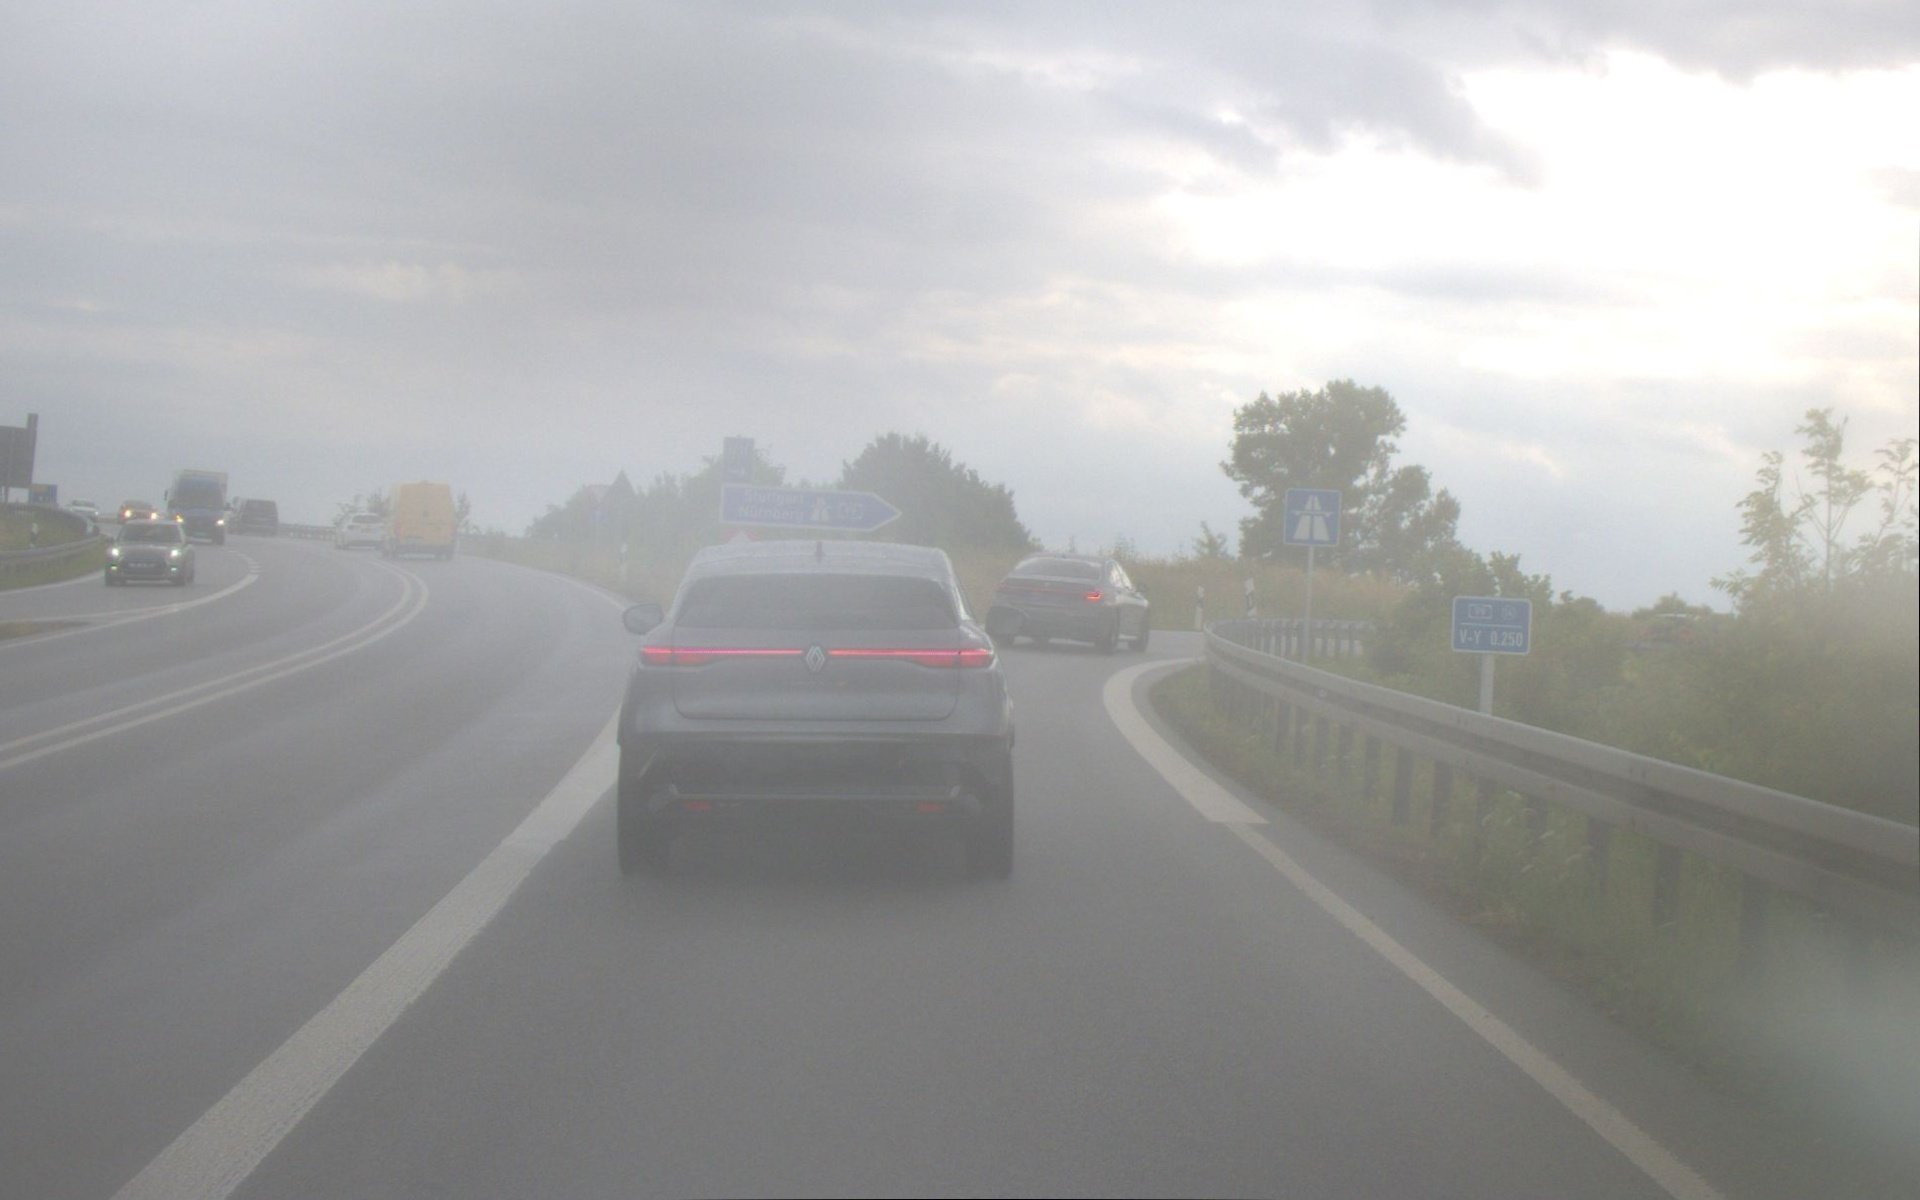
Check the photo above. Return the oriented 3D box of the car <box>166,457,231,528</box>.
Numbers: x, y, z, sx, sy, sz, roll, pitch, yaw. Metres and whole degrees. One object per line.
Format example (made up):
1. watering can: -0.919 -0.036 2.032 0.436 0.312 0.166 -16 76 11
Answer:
1. car: -30.054 -4.195 135.807 2.351 2.692 6.996 1 1 -12

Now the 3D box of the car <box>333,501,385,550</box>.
1. car: -23.029 -2.825 131.729 1.791 1.682 4.001 2 -1 -12

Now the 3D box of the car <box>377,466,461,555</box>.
1. car: -17.860 -2.920 113.807 2.572 2.716 7.198 2 0 -8

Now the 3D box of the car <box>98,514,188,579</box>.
1. car: -18.078 -1.175 76.177 1.744 1.361 4.051 -2 1 -11

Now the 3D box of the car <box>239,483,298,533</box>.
1. car: -35.046 -4.619 174.218 2.601 2.243 5.536 2 -1 -14

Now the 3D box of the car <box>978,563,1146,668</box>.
1. car: 1.639 0.217 53.828 1.792 1.436 3.998 5 1 13

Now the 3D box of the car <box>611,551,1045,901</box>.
1. car: -0.644 0.534 16.393 1.791 1.436 4.000 1 0 -3
